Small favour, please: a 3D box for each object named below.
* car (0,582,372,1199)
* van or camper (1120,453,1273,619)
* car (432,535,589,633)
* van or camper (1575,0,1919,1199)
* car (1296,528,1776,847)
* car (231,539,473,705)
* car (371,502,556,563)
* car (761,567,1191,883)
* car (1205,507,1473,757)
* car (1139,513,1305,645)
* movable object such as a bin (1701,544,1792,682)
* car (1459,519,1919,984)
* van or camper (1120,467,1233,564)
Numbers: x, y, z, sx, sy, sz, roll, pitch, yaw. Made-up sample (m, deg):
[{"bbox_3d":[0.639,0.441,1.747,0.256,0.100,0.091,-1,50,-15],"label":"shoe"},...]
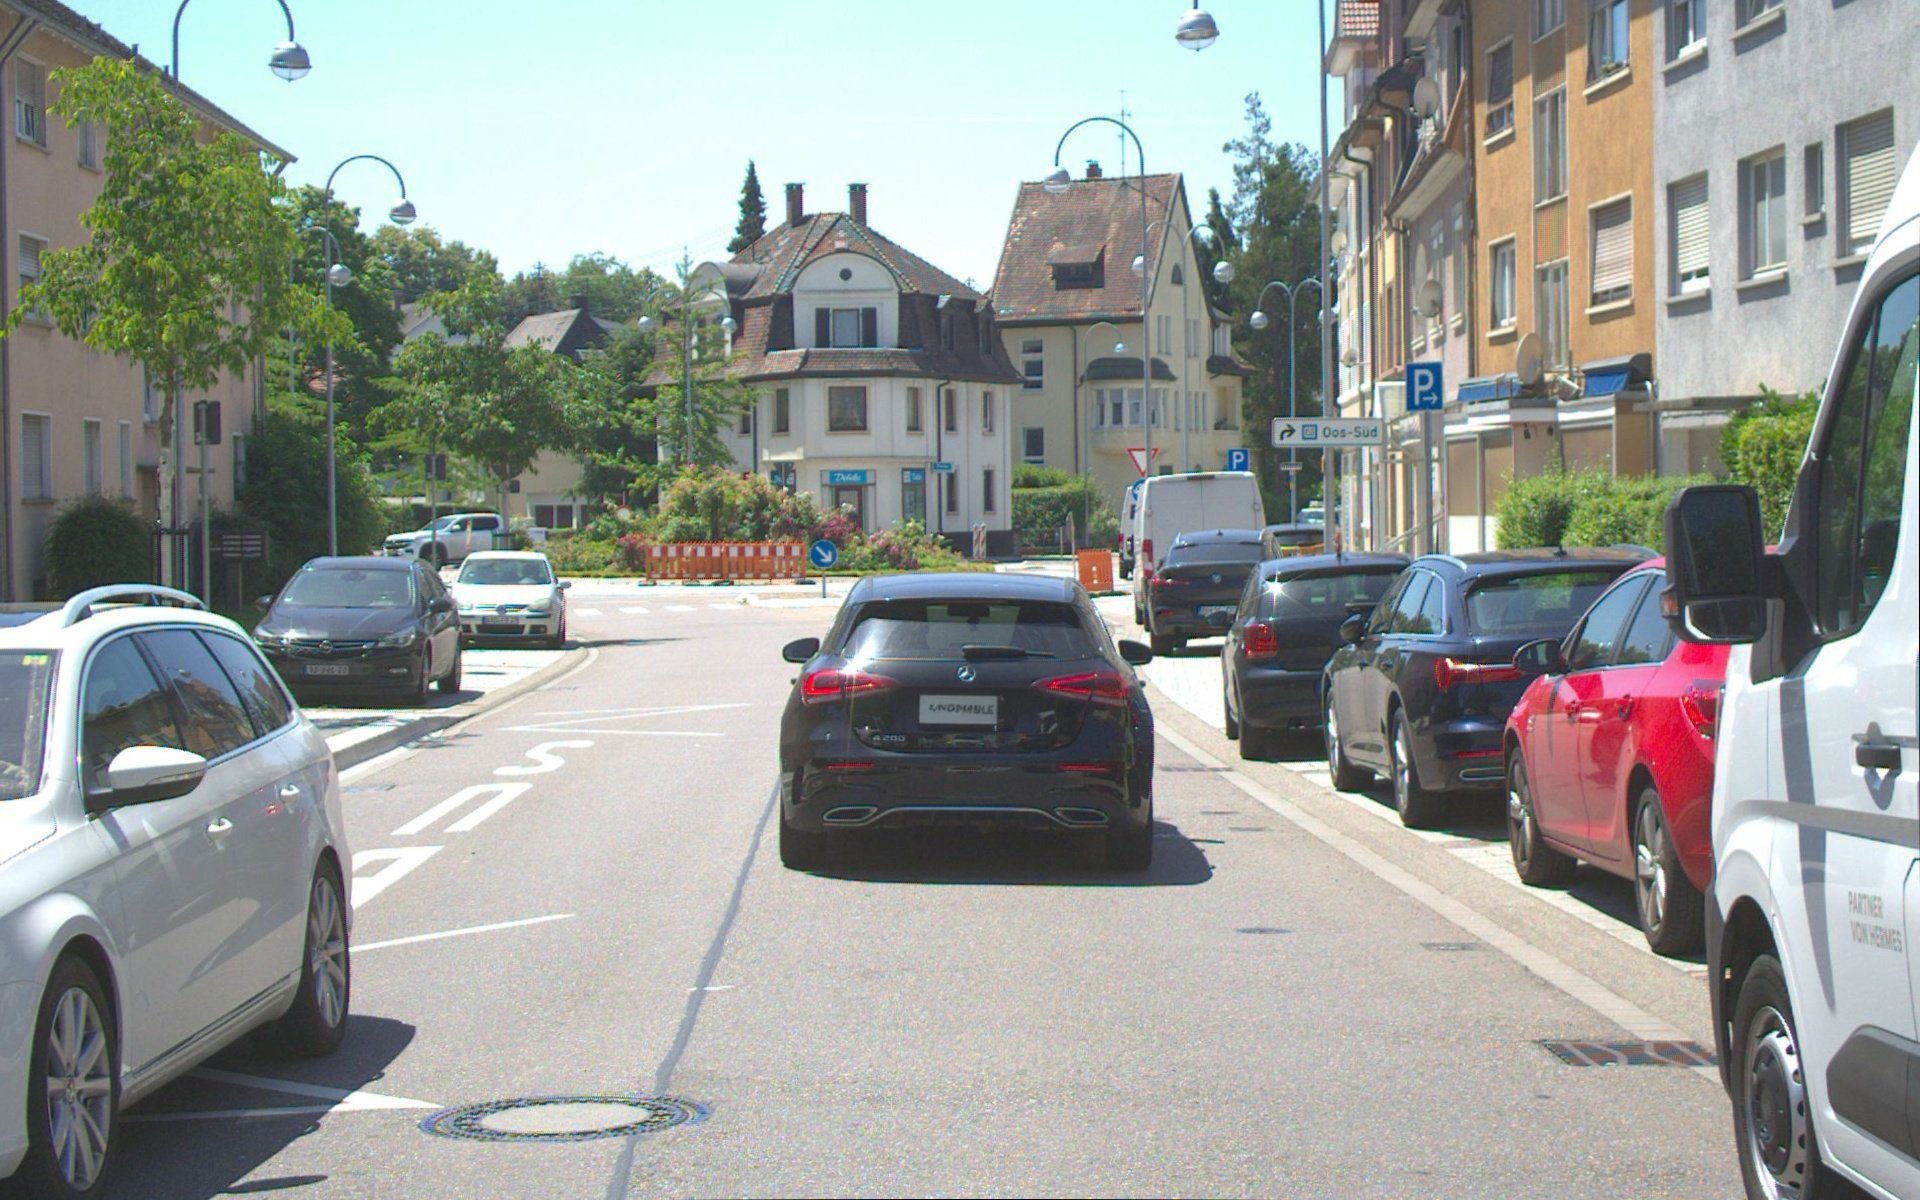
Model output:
[{"bbox_3d":[-2.976,0.786,9.147,1.993,1.501,4.288,-1,2,1],"label":"car"},{"bbox_3d":[3.916,-1.109,57.808,2.165,2.580,5.766,-2,2,1],"label":"van or camper"},{"bbox_3d":[-6.819,-0.273,52.540,1.993,1.415,4.089,-1,1,-2],"label":"car"},{"bbox_3d":[2.654,0.160,5.693,2.108,2.459,6.177,-3,1,0],"label":"van or camper"},{"bbox_3d":[3.182,0.397,19.958,1.803,1.470,4.721,-4,2,-1],"label":"car"},{"bbox_3d":[-6.275,0.175,35.943,1.857,1.501,4.563,-1,2,-2],"label":"car"},{"bbox_3d":[-15.395,-2.082,106.772,5.404,1.809,2.000,0,2,-38],"label":"car"},{"bbox_3d":[0.062,0.553,17.683,1.953,1.422,4.000,0,1,0],"label":"car"},{"bbox_3d":[2.812,0.172,26.204,1.728,1.627,4.000,-3,2,3],"label":"car"},{"bbox_3d":[3.576,-0.324,46.312,1.896,1.602,4.363,-2,1,8],"label":"car"},{"bbox_3d":[6.353,0.101,27.794,0.554,1.081,0.776,-1,2,1],"label":"movable object such as a bin"},{"bbox_3d":[3.326,0.483,14.123,1.803,1.524,4.151,-2,2,-1],"label":"car"},{"bbox_3d":[6.001,-2.348,94.770,2.207,2.601,3.997,0,2,17],"label":"van or camper"}]
